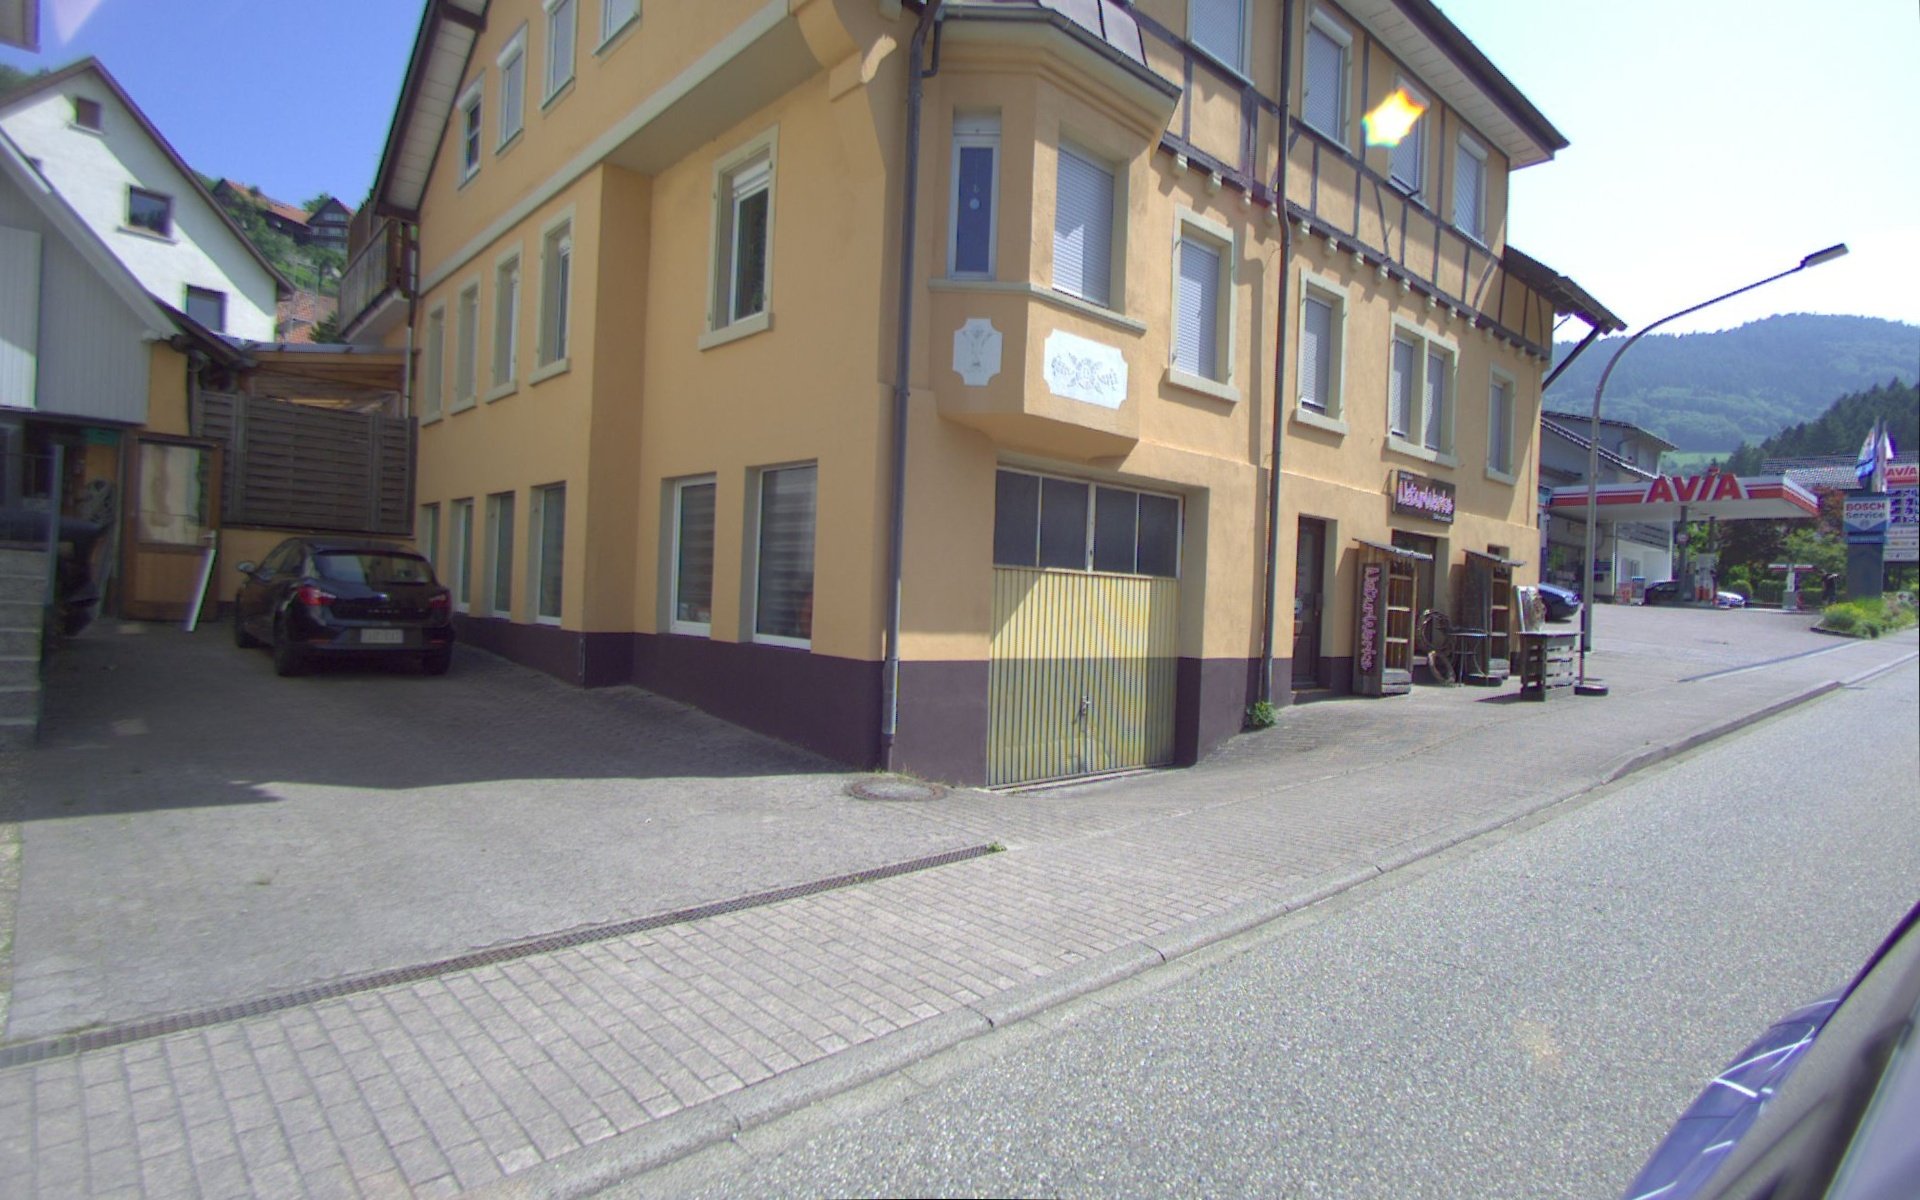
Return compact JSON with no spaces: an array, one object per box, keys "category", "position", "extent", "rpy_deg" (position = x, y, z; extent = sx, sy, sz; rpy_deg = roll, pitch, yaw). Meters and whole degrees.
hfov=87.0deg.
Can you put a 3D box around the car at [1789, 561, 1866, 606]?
[{"category":"car","position":[35.159,-0.700,40.972],"extent":[3.843,1.595,1.696],"rpy_deg":[-1,6,-41]}]

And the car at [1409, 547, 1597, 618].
[{"category":"car","position":[15.166,-0.563,28.396],"extent":[4.315,1.563,1.774],"rpy_deg":[7,6,40]}]

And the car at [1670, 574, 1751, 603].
[{"category":"car","position":[38.505,-0.606,51.986],"extent":[1.312,1.158,3.080],"rpy_deg":[-1,6,-42]}]

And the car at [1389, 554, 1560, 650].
[{"category":"car","position":[10.315,-0.024,20.384],"extent":[1.403,1.553,2.657],"rpy_deg":[-2,9,-45]}]

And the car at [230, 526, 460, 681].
[{"category":"car","position":[-7.242,-0.079,11.756],"extent":[1.569,1.392,3.820],"rpy_deg":[-1,6,-43]}]
